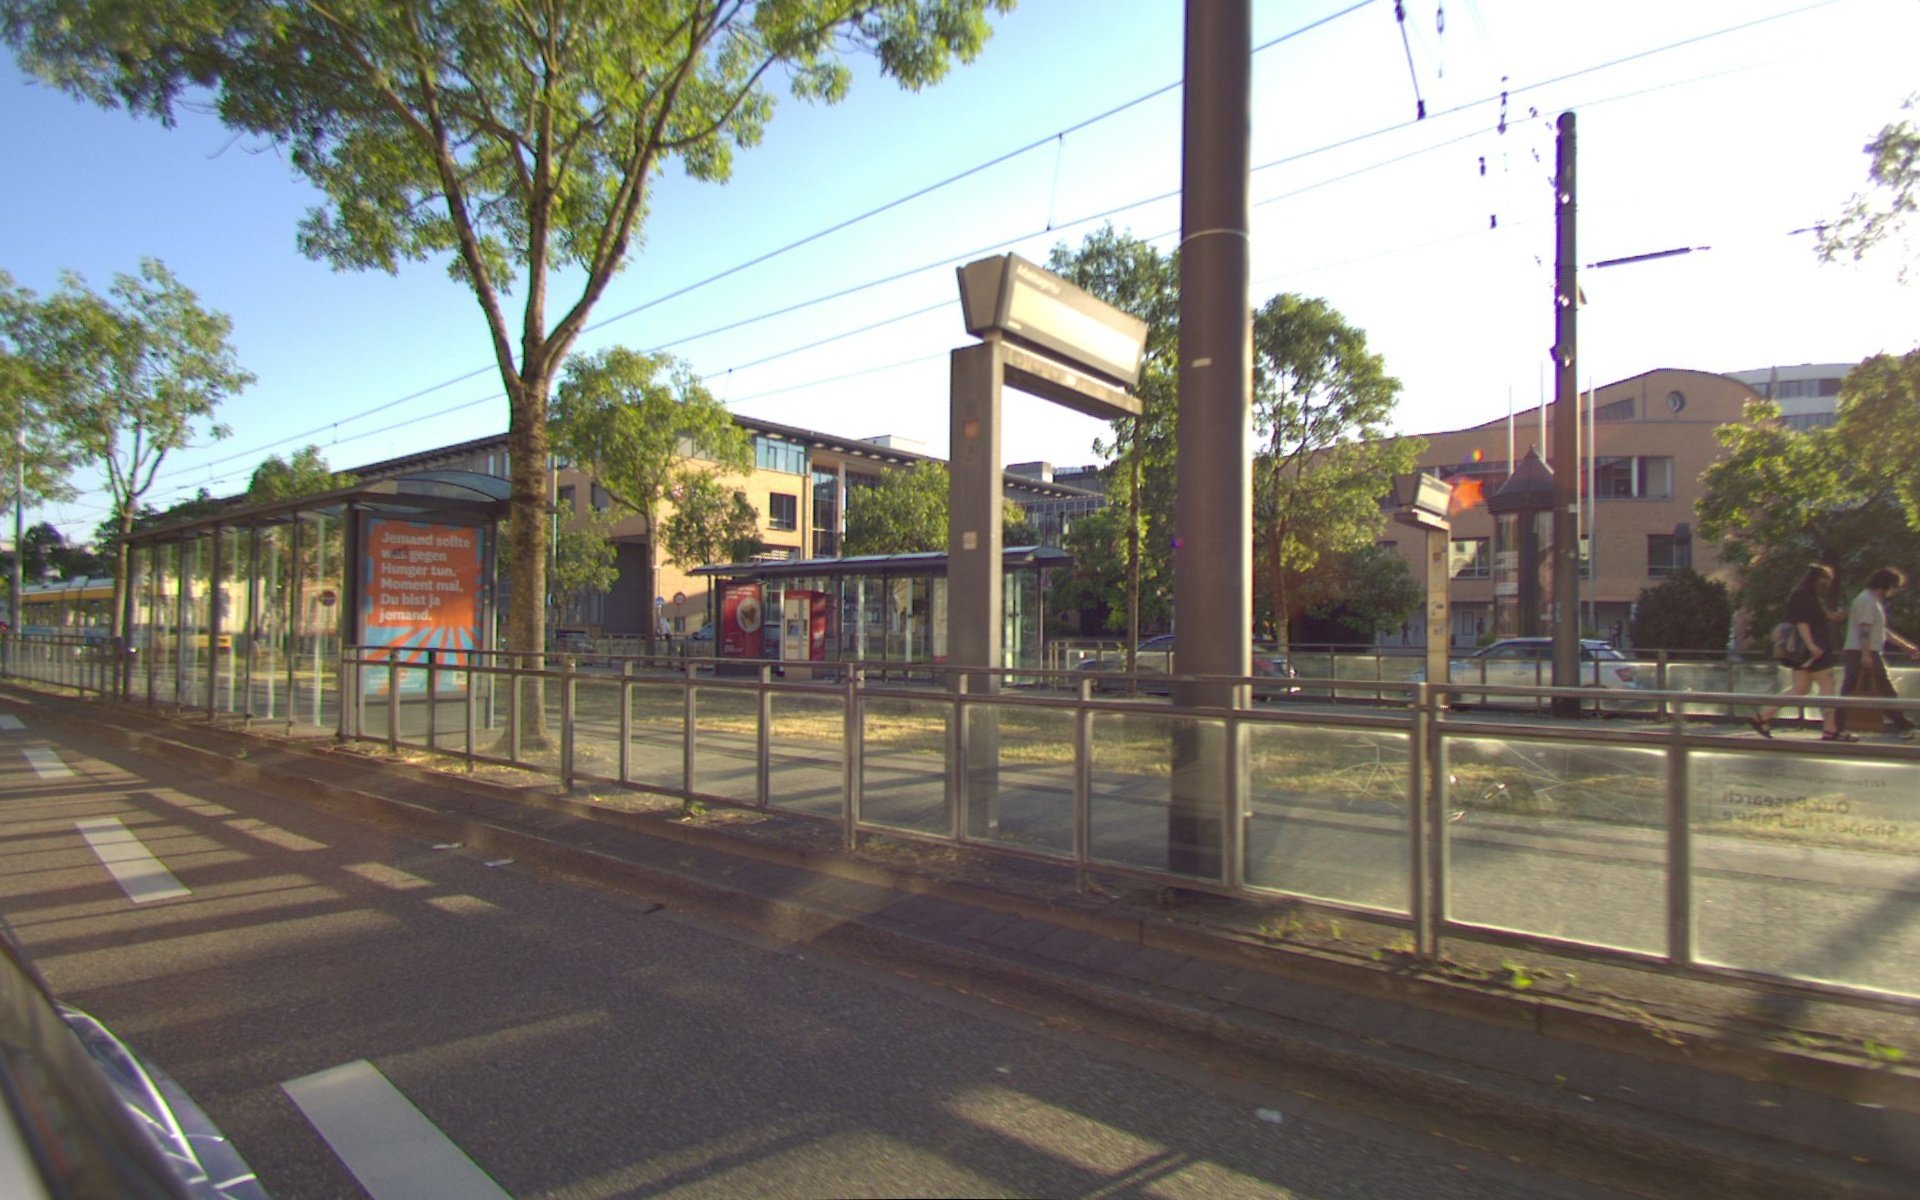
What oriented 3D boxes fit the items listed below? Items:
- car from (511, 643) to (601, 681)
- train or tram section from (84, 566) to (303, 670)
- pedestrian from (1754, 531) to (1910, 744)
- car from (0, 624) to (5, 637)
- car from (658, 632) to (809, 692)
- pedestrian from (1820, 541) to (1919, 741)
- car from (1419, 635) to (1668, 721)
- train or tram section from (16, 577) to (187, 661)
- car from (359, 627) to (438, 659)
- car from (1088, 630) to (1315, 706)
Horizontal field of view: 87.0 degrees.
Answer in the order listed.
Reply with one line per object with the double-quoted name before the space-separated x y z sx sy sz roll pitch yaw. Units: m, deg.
"car" -15.412 2.350 38.575 3.686 1.308 1.525 0 -3 39
"train or tram section" -29.404 0.706 38.396 13.842 3.365 3.397 -1 -2 39
"pedestrian" 8.865 0.374 10.326 1.126 2.029 0.762 -2 -2 41
"car" -100.137 3.151 104.359 3.995 1.386 1.773 -1 -2 38
"car" -6.336 1.648 28.093 4.356 1.519 1.843 -1 -2 39
"pedestrian" 9.833 0.424 10.668 1.126 2.029 0.762 -2 -2 41
"car" 10.610 1.383 18.516 3.745 1.387 1.595 -1 -5 40
"train or tram section" -40.616 0.891 47.544 15.011 3.456 3.397 -1 -2 39
"car" -27.604 2.093 49.729 3.991 1.519 1.846 -1 -2 35
"car" 4.652 1.259 19.778 3.996 1.308 1.676 -1 -2 39
